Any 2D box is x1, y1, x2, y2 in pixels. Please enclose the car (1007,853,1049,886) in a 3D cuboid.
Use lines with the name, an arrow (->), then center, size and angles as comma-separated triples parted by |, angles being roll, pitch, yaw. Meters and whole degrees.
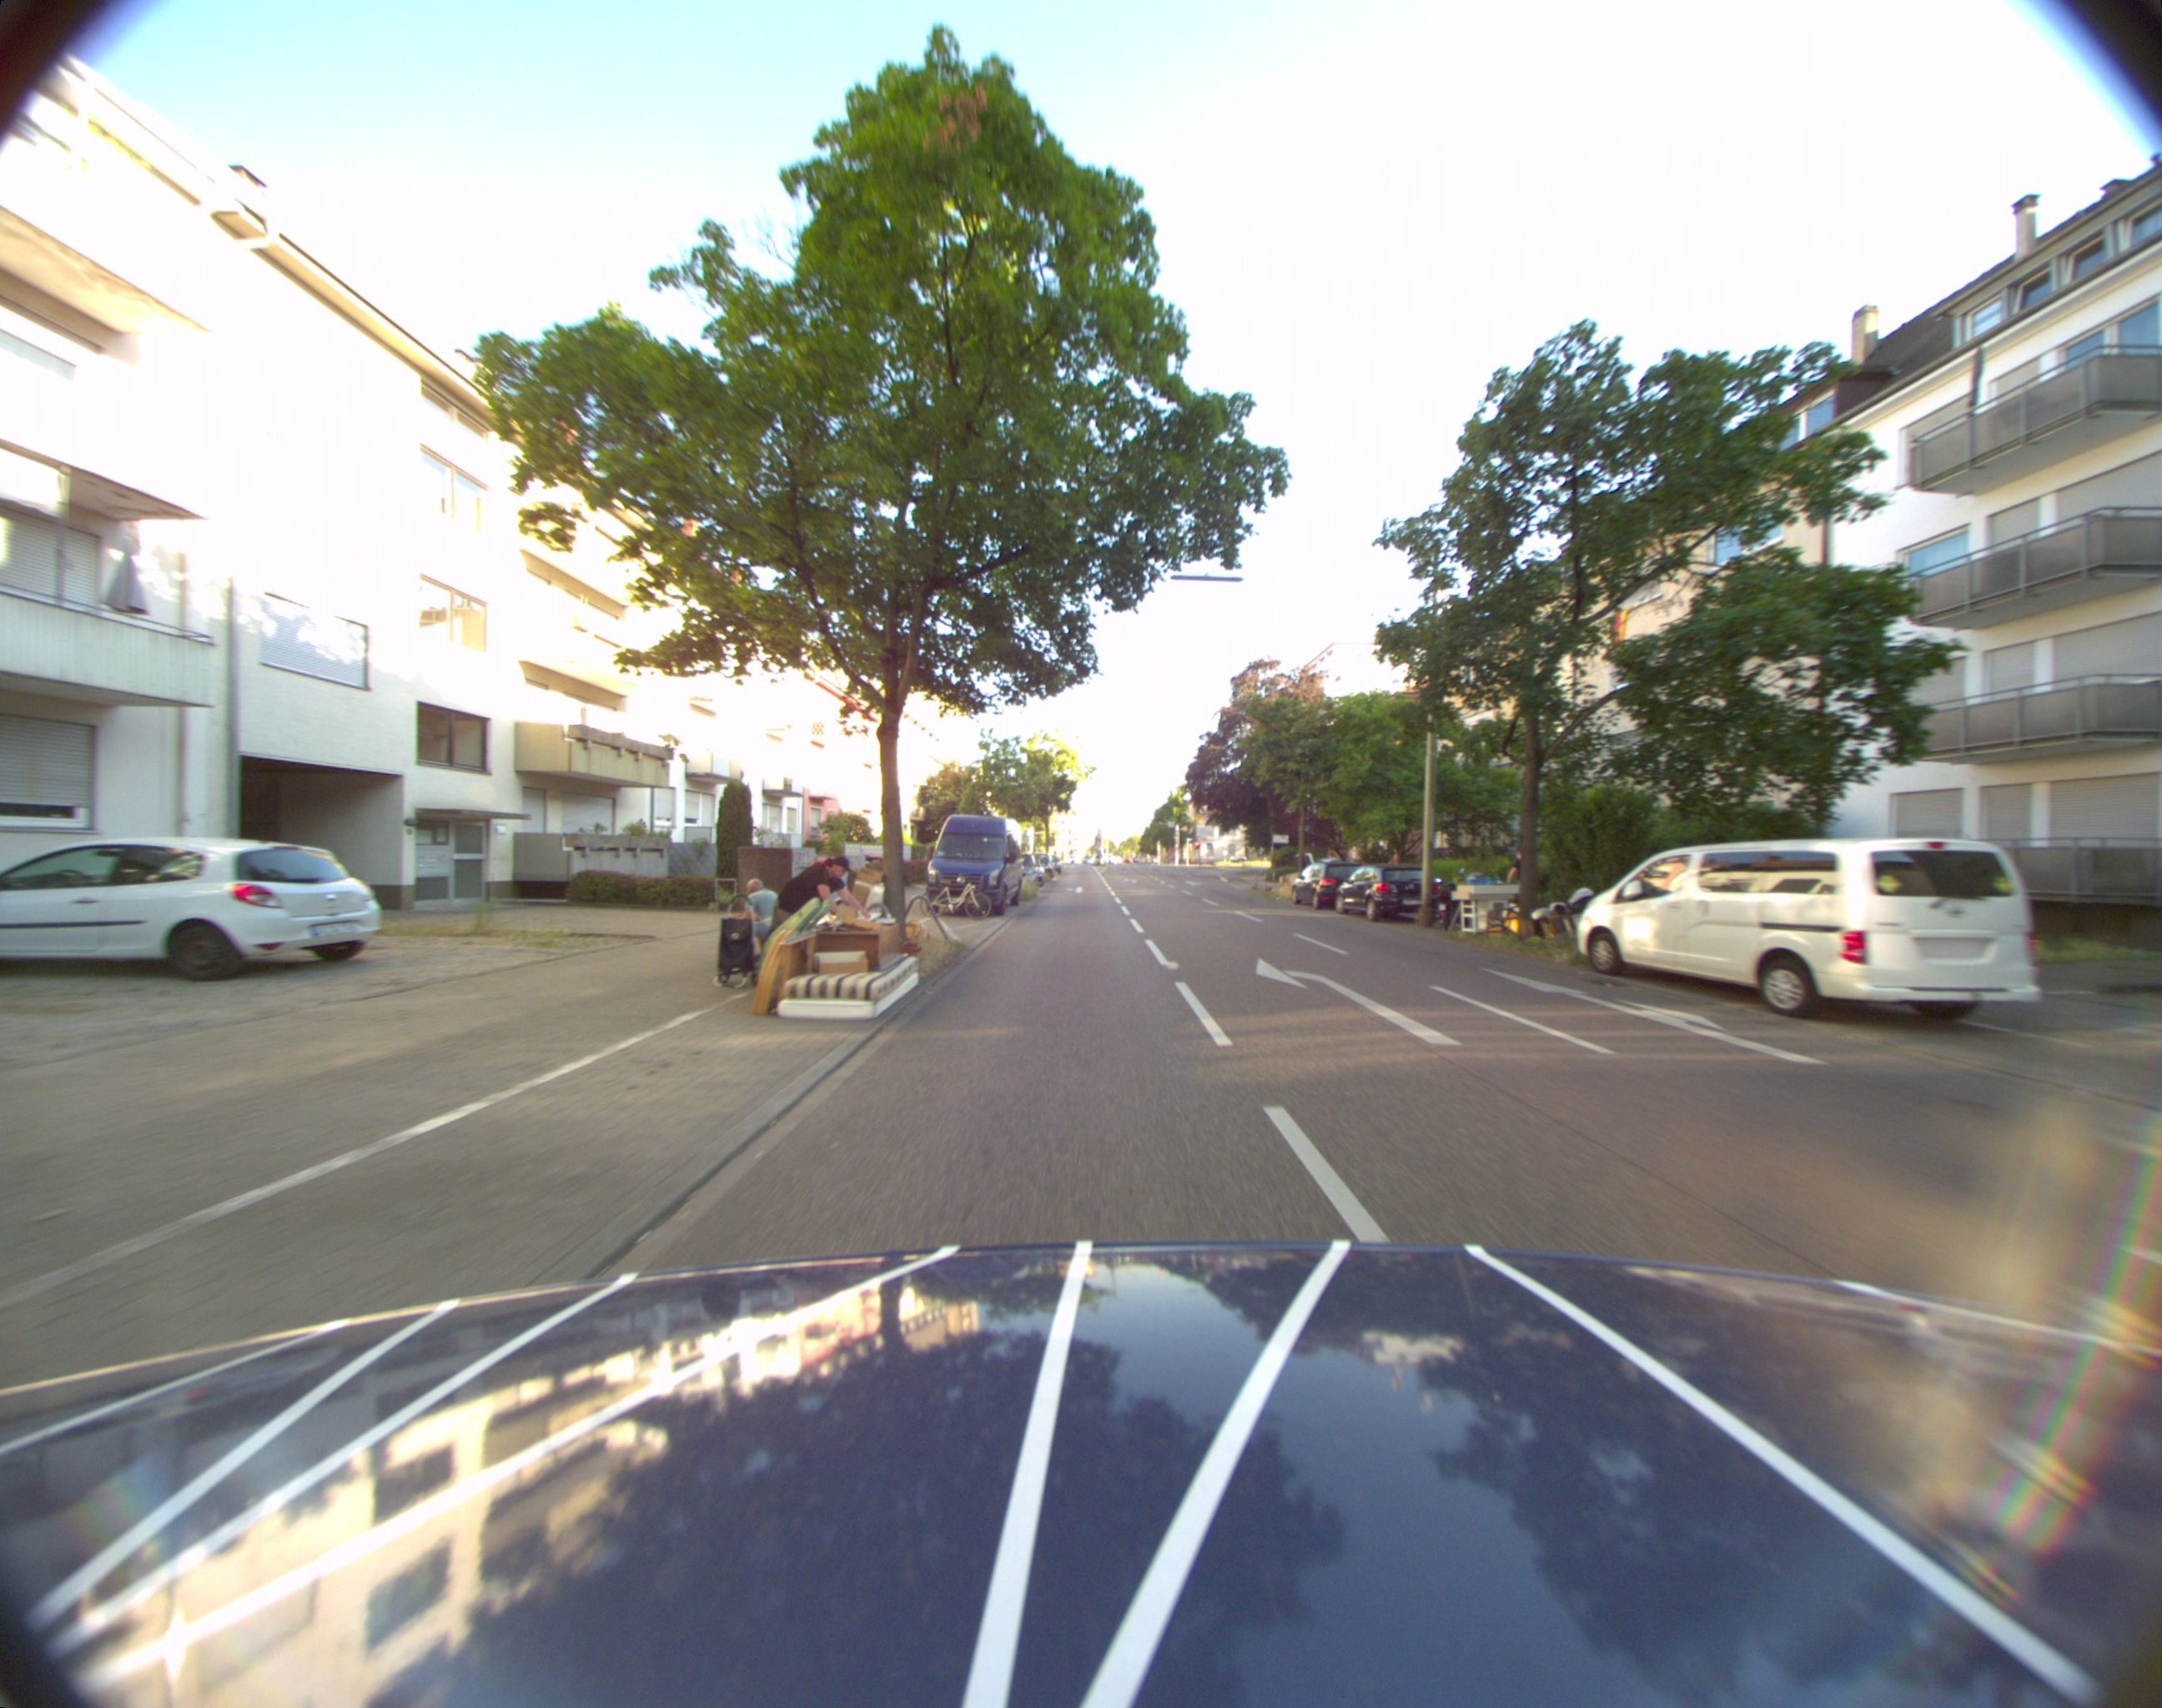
car -> -2.574, 0.726, 37.535 | 1.925, 1.477, 4.744 | 1, 0, -3

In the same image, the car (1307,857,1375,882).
car -> 15.967, 0.944, 46.746 | 3.507, 1.477, 1.815 | 1, 0, -3

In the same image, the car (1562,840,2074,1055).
car -> 8.017, 0.850, 9.048 | 1.774, 1.908, 4.459 | 1, 0, 0

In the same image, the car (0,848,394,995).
car -> -10.534, 0.677, 8.473 | 3.998, 1.453, 1.824 | 1, 0, -3

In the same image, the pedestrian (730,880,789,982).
pedestrian -> -4.172, 0.975, 9.889 | 0.656, 1.247, 0.656 | 1, 0, -19

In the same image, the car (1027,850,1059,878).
car -> -2.358, 0.627, 47.798 | 1.737, 1.641, 4.291 | 1, 0, 0

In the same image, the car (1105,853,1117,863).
car -> 4.680, 0.612, 117.849 | 1.764, 1.489, 3.708 | 1, 0, 0

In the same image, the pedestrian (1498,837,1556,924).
pedestrian -> 10.559, 0.617, 18.012 | 0.769, 2.002, 0.976 | 1, 0, 0

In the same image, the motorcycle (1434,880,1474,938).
motorcycle -> 8.283, 1.179, 16.857 | 0.440, 1.185, 1.711 | 1, 0, 38

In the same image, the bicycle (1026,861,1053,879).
bicycle -> -2.403, 0.915, 44.077 | 1.482, 1.053, 0.411 | 1, 0, -12

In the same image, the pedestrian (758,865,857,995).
pedestrian -> -3.218, 0.872, 8.992 | 1.066, 1.467, 0.478 | 1, 0, -19

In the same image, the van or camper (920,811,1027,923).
van or camper -> -2.789, 0.269, 21.272 | 2.073, 2.660, 5.989 | 1, 1, 1

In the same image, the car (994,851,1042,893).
car -> -2.632, 0.728, 32.518 | 1.777, 1.633, 3.756 | 1, 1, -1

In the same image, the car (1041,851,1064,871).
car -> -2.276, 0.571, 61.806 | 1.737, 1.542, 3.646 | 1, 0, 0

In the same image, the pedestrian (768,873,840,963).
pedestrian -> -4.036, 0.920, 11.110 | 0.799, 1.247, 0.700 | 1, 0, -2

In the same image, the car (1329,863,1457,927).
car -> 8.112, 0.999, 20.153 | 1.754, 1.494, 3.978 | 1, 0, 0

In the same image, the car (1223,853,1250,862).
car -> 24.549, 0.575, 120.032 | 3.646, 1.437, 1.999 | 1, 0, -4

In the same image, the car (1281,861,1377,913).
car -> 7.968, 1.013, 24.800 | 1.754, 1.494, 4.197 | 1, 0, 0

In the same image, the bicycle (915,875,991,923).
bicycle -> -3.011, 1.064, 17.961 | 1.705, 1.083, 0.404 | 1, 0, 3
